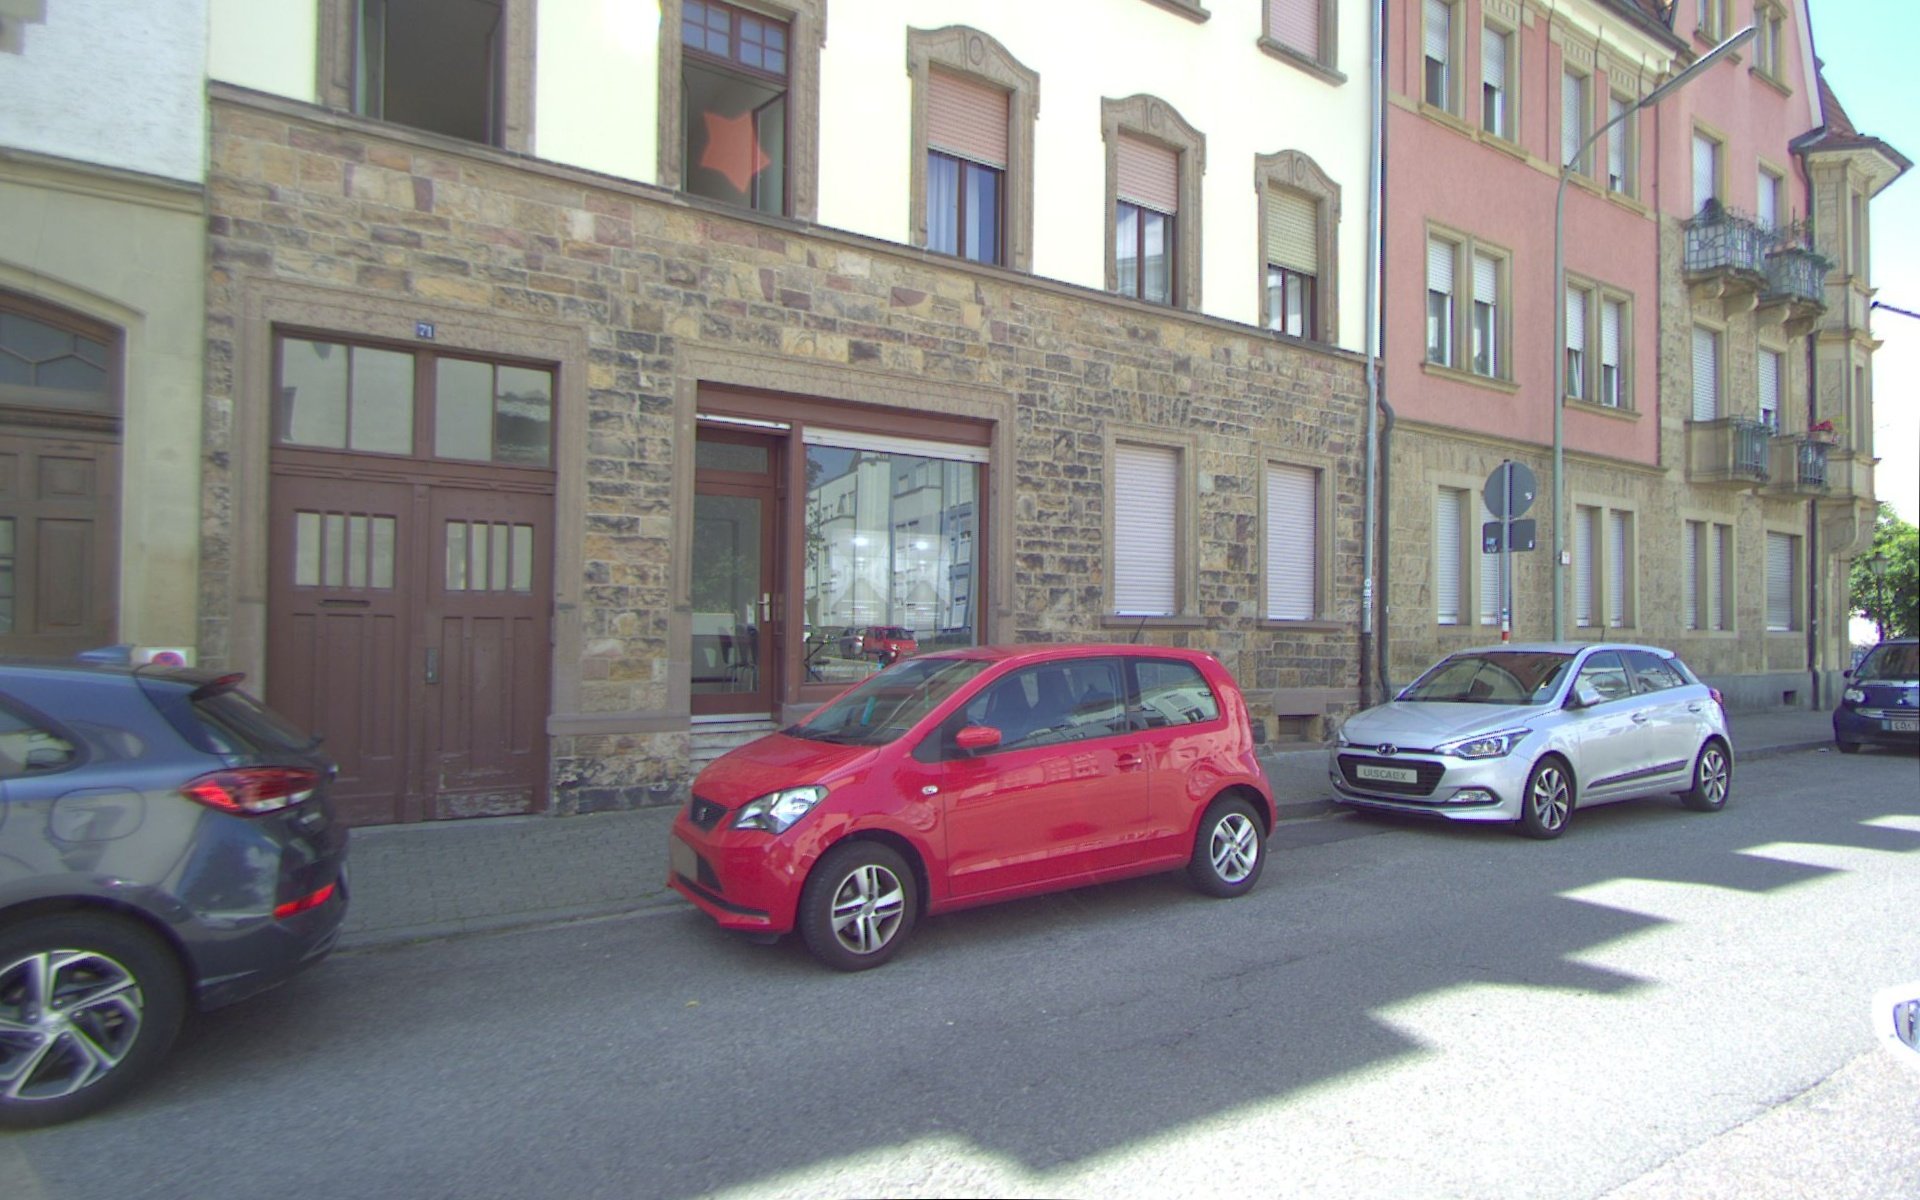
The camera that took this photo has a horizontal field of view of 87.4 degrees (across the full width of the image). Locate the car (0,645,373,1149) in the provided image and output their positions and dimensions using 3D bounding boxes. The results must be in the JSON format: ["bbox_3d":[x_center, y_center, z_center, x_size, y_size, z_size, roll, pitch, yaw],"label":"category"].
[{"bbox_3d":[-4.278,0.889,3.131,4.172,1.457,1.862,1,-2,-32],"label":"car"}]

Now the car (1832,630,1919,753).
[{"bbox_3d":[13.095,1.194,13.427,2.665,1.542,1.429,2,-3,-32],"label":"car"}]

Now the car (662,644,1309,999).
[{"bbox_3d":[0.227,0.994,5.808,3.457,1.461,1.590,1,-3,-32],"label":"car"}]

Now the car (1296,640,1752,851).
[{"bbox_3d":[4.935,1.095,8.690,3.971,1.450,1.627,1,-4,-30],"label":"car"}]

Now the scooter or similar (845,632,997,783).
[{"bbox_3d":[-0.325,0.895,8.706,1.304,1.236,0.373,1,-2,-31],"label":"scooter or similar"}]

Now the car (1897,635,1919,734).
[{"bbox_3d":[16.633,1.296,15.605,4.580,1.477,1.775,2,-3,-30],"label":"car"}]
